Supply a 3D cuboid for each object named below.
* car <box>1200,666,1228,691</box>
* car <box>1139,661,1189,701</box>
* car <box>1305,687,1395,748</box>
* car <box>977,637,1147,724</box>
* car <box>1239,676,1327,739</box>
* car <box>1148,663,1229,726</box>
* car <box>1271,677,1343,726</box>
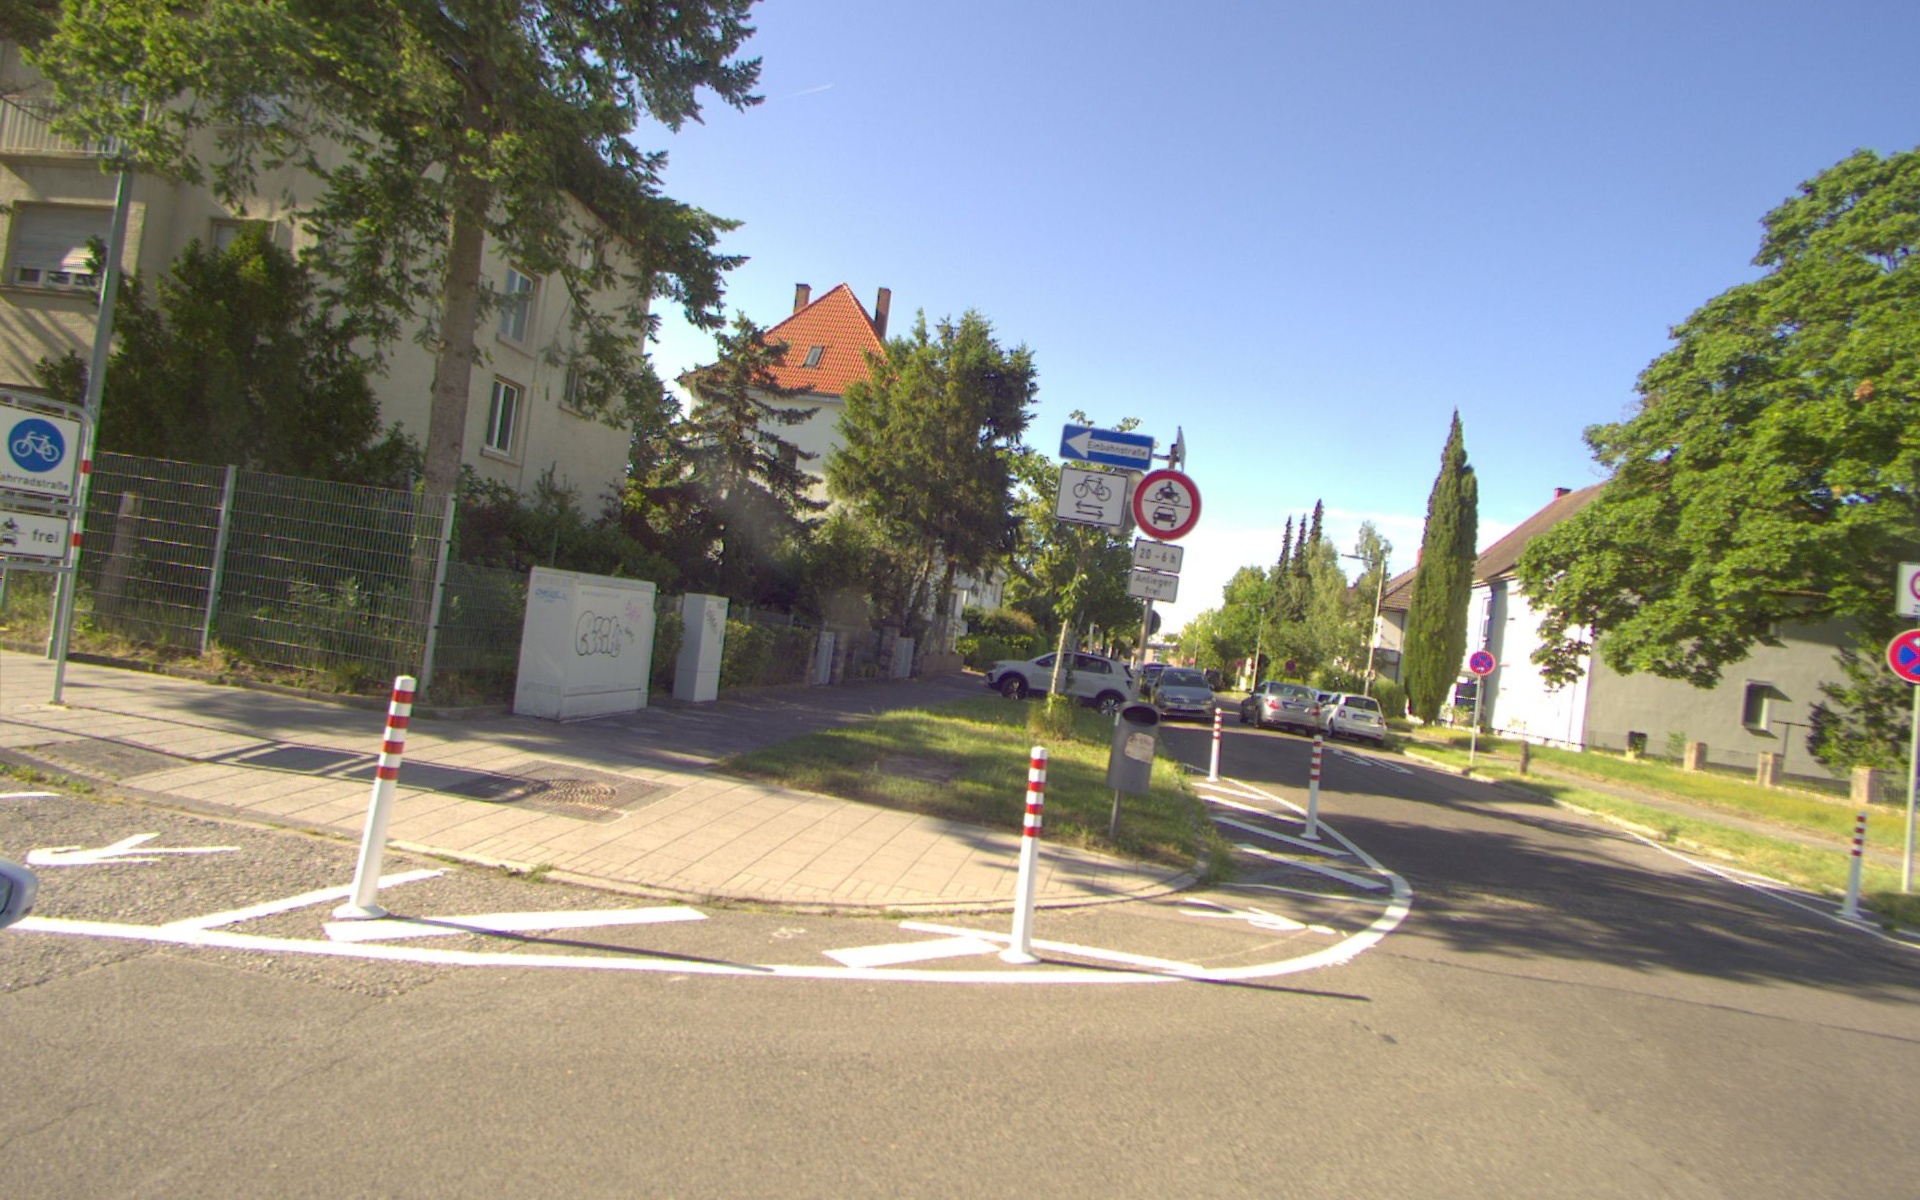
[{"bbox_3d":[22.004,6.798,87.303,1.825,1.862,4.005,7,-2,9],"label":"car"},{"bbox_3d":[9.755,3.865,48.408,1.961,1.628,4.005,4,-2,8],"label":"car"},{"bbox_3d":[12.405,3.700,32.223,1.706,1.497,3.729,7,-2,8],"label":"car"},{"bbox_3d":[2.663,2.070,26.335,4.126,1.582,1.844,8,-1,7],"label":"car"},{"bbox_3d":[9.522,3.134,29.961,1.807,1.457,4.005,8,-2,11],"label":"car"},{"bbox_3d":[6.912,2.831,30.831,1.961,1.628,4.005,4,-2,8],"label":"car"},{"bbox_3d":[14.676,4.256,42.796,1.962,1.628,4.005,7,-2,8],"label":"car"}]
